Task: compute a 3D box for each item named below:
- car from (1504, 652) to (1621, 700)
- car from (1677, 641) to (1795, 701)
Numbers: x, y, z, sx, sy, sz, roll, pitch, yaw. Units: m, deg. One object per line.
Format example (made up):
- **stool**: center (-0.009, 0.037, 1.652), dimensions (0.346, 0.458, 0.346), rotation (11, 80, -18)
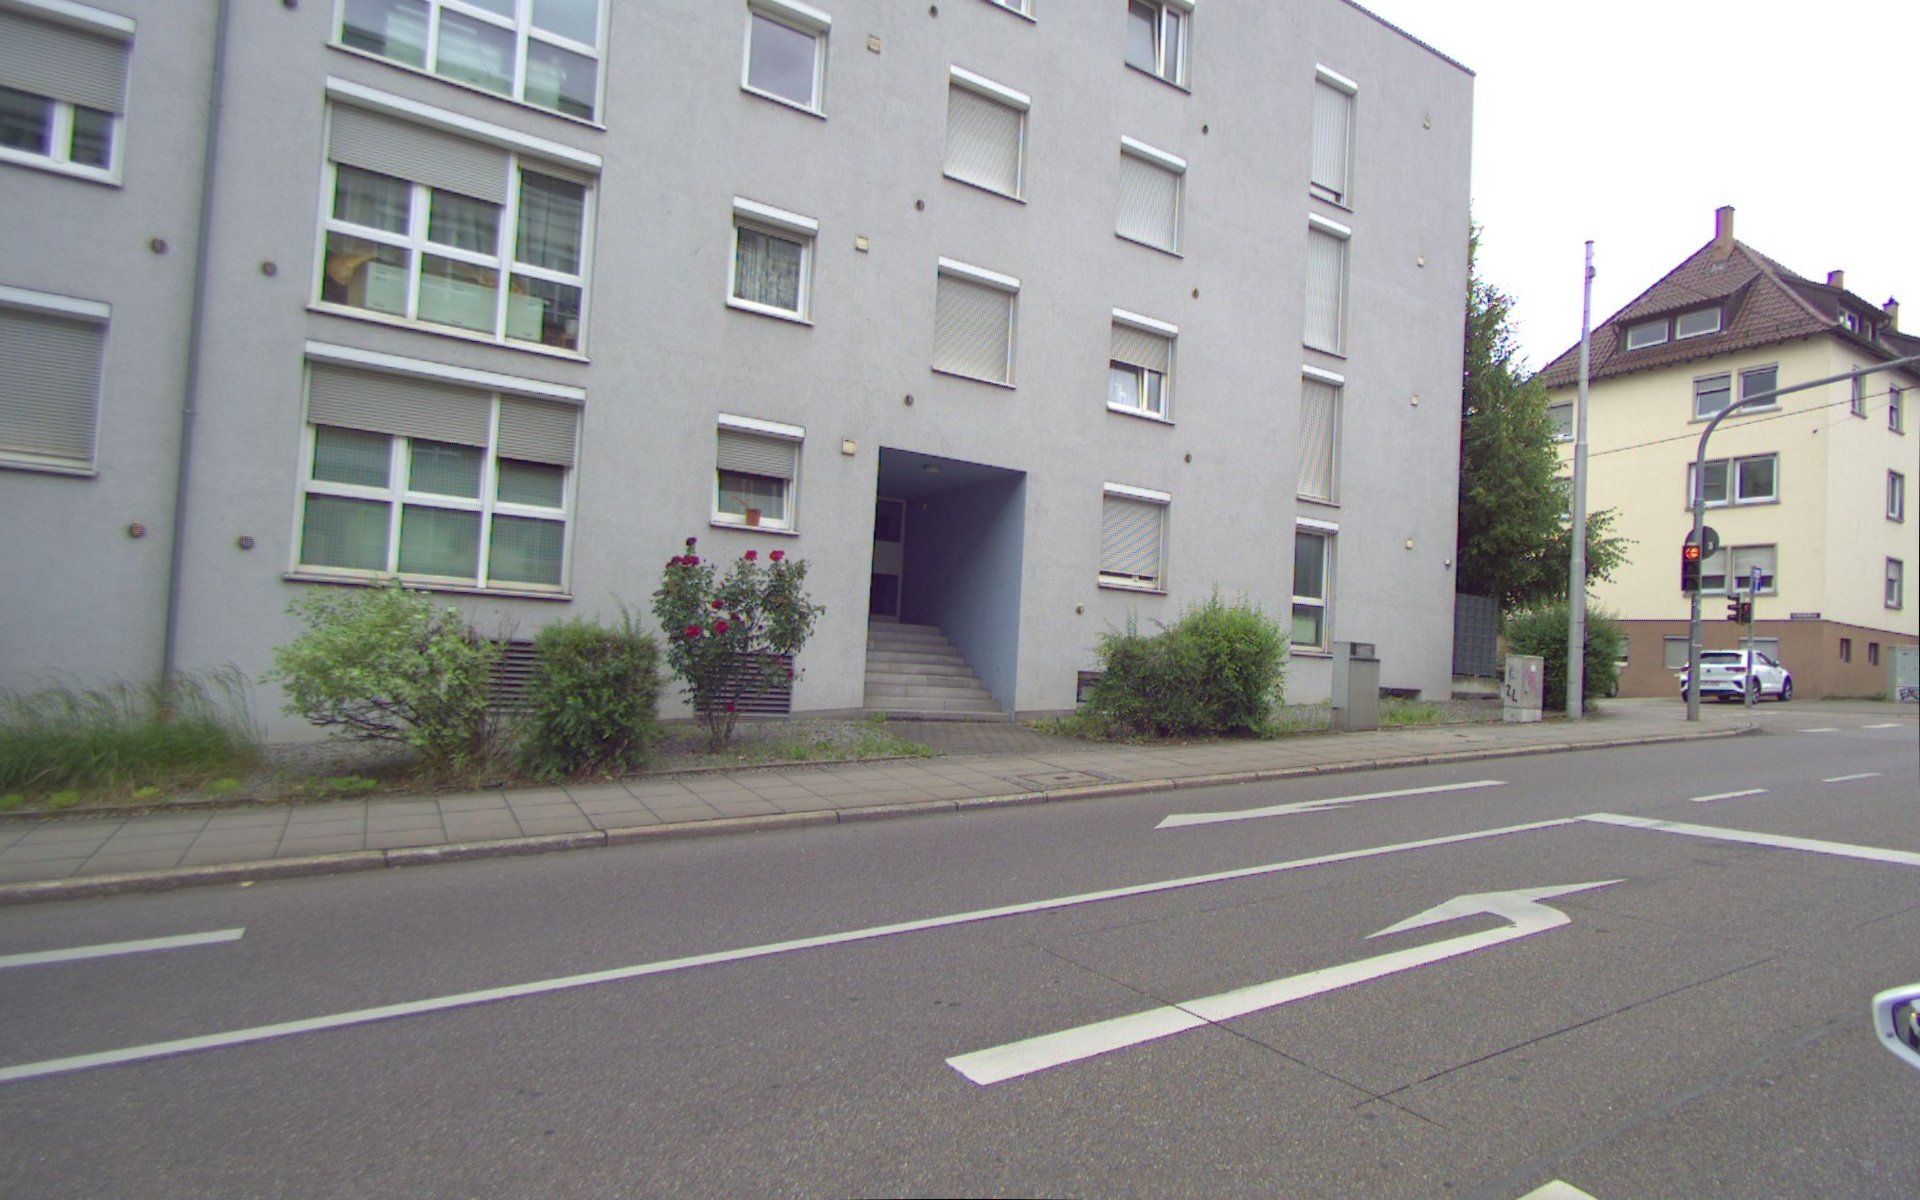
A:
- **car**: center (20.712, 2.576, 34.508), dimensions (4.053, 1.566, 1.662), rotation (2, -4, -31)
- **car**: center (23.276, 2.087, 30.087), dimensions (3.960, 1.683, 1.660), rotation (2, -4, -35)
